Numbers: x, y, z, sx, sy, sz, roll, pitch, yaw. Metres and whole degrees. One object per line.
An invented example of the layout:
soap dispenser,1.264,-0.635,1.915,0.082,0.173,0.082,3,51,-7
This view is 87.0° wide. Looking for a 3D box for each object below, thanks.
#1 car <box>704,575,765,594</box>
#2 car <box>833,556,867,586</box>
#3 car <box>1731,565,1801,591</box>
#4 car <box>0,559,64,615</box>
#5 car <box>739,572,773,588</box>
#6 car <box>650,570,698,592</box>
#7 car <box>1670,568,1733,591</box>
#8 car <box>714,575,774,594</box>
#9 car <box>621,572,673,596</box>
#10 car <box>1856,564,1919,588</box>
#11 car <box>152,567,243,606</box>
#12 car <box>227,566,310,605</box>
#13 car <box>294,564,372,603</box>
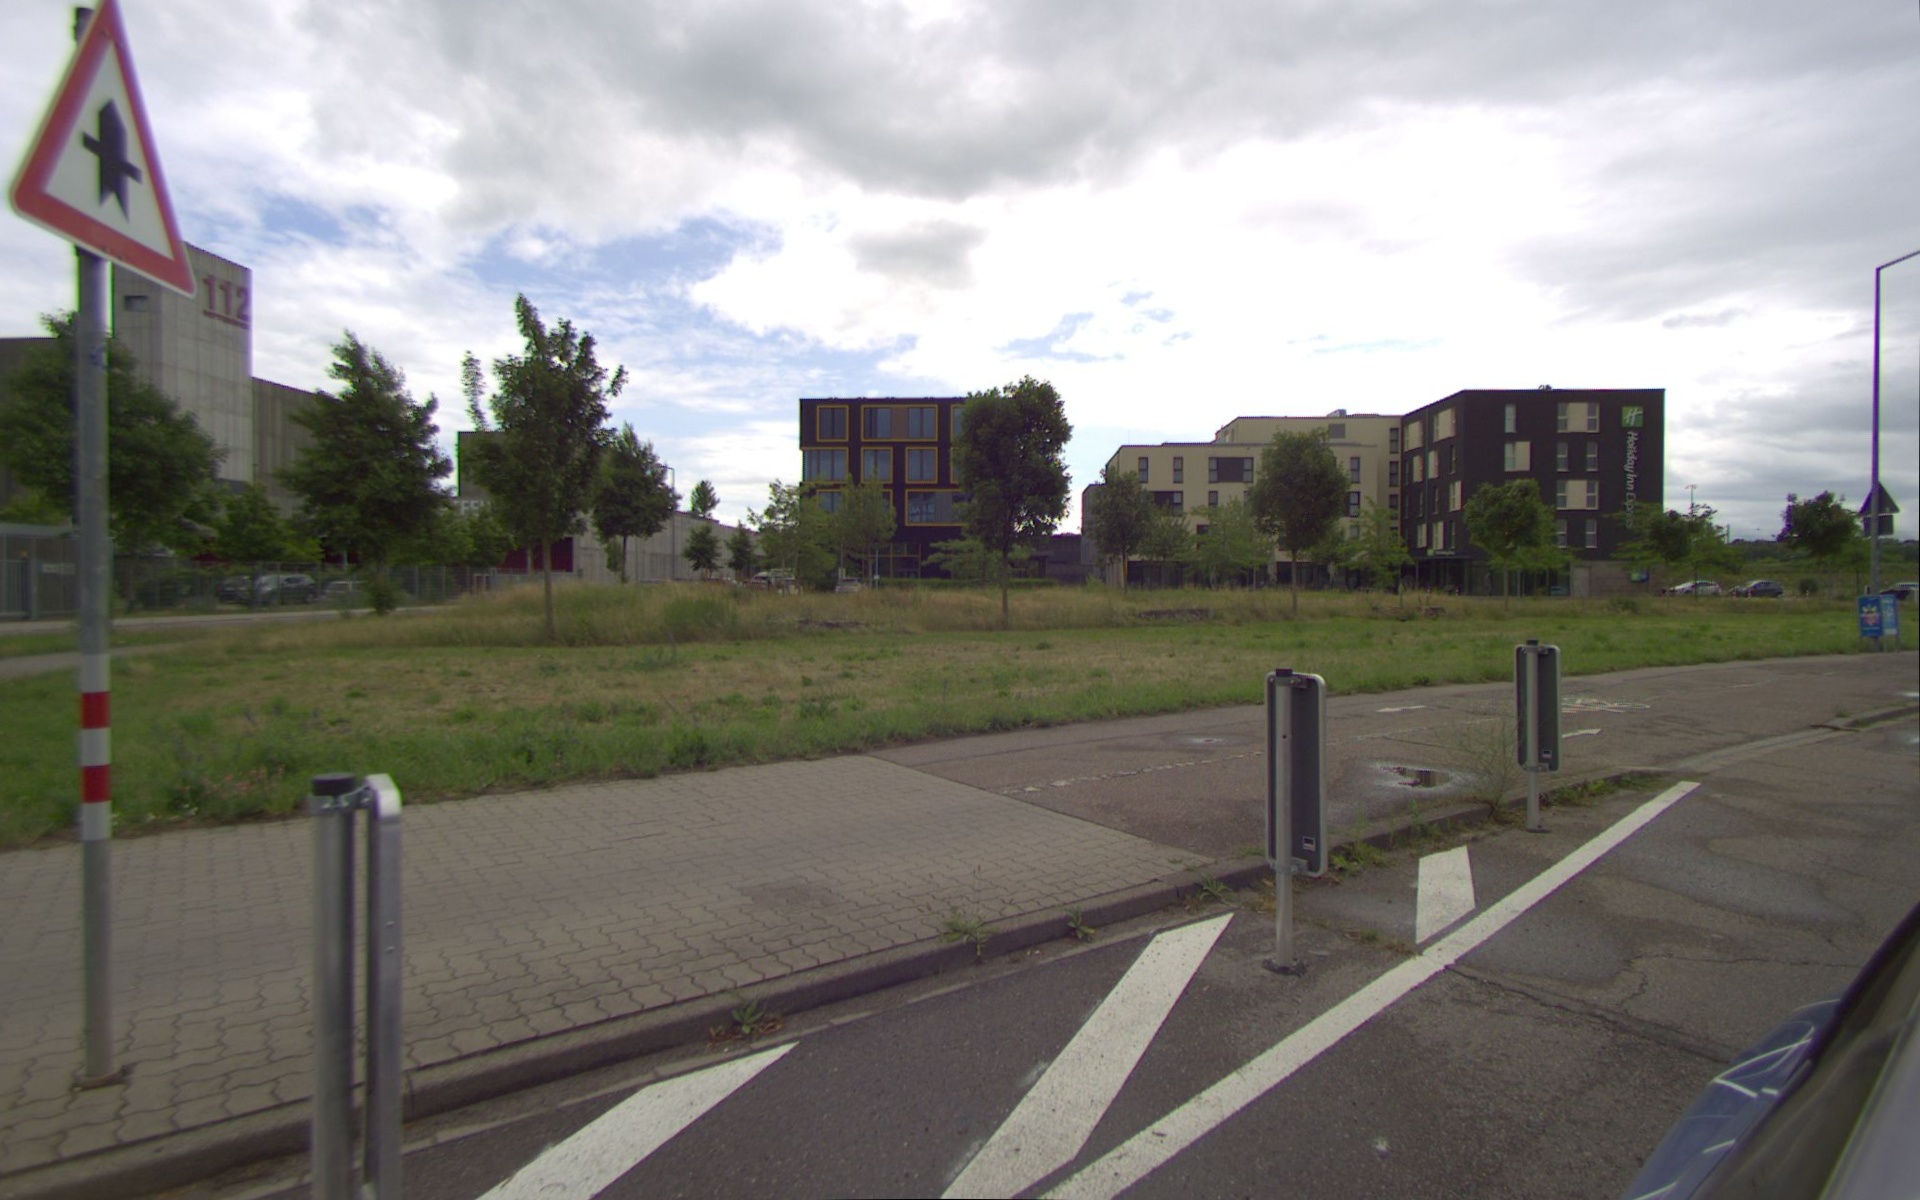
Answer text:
car,-15.798,-1.093,70.989,3.932,1.348,1.560,0,1,8
car,-7.764,-2.057,71.927,1.962,2.038,4.001,0,1,0
car,65.029,-1.788,81.709,3.926,2.039,1.999,0,1,2
car,-35.774,-0.491,37.259,1.963,2.039,3.998,0,1,3
car,-26.168,-2.513,129.882,3.925,2.039,2.000,0,1,1
car,-26.567,-1.752,94.177,3.923,2.039,2.001,0,1,-1
car,65.323,-1.824,89.187,3.926,2.039,1.999,0,1,2
car,-15.670,-1.149,73.463,3.932,1.348,1.560,0,1,8
car,-26.768,-1.406,86.654,3.923,2.039,2.001,0,1,-1
car,79.220,-2.021,86.288,3.923,2.039,2.001,0,1,-1
car,-40.423,-0.738,53.791,1.961,2.039,4.003,0,1,-3
car,-37.523,-0.792,55.016,1.961,2.039,4.003,0,1,-3
car,-33.997,-0.902,54.988,1.961,2.039,4.003,0,1,-3
